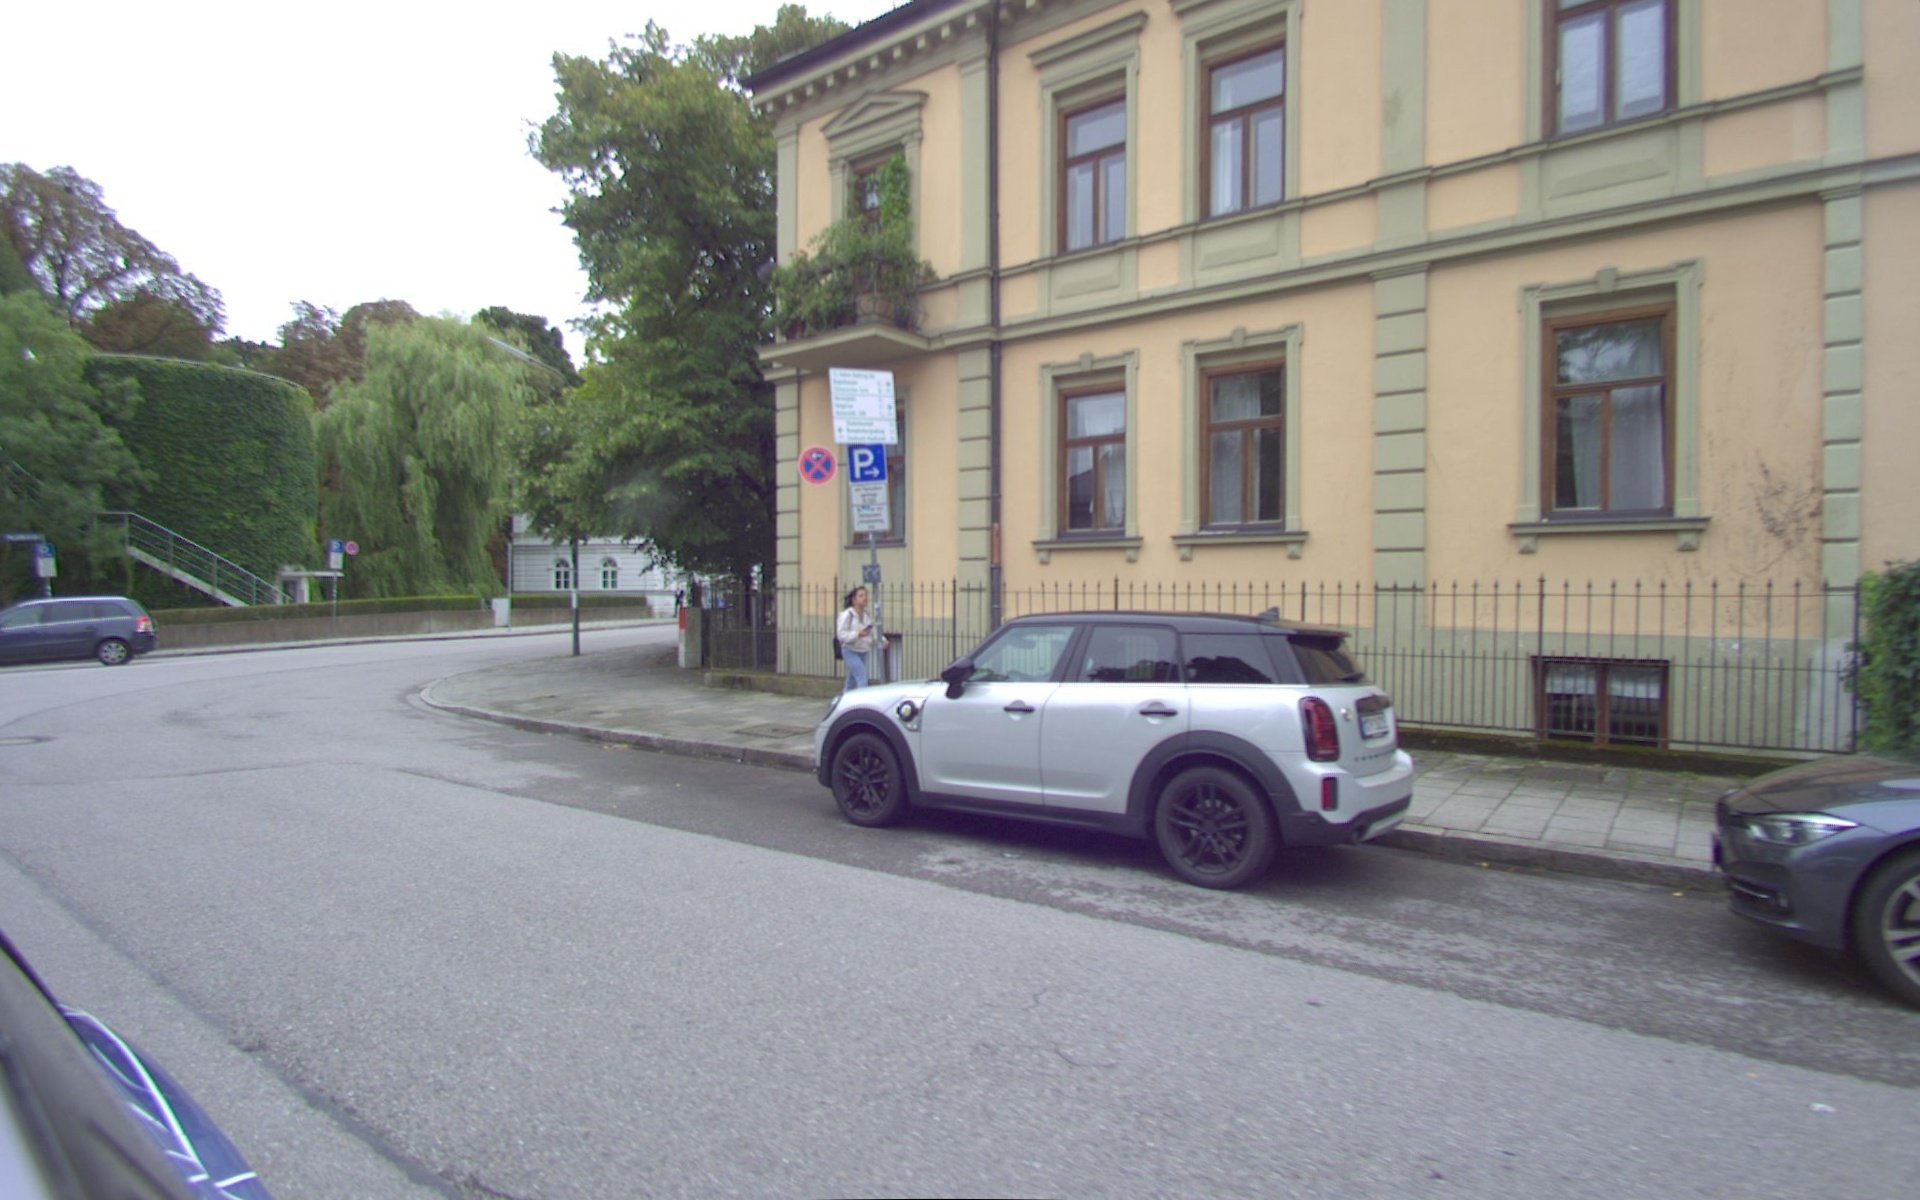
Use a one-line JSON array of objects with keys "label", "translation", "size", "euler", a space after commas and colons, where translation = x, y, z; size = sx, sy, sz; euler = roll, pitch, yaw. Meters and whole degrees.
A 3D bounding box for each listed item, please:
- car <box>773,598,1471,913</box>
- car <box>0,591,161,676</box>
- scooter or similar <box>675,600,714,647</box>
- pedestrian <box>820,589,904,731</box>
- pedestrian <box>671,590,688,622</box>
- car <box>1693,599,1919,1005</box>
[{"label": "car", "translation": [0.931, 0.812, 7.159], "size": [4.525, 1.547, 1.917], "euler": [0, -2, 38]}, {"label": "car", "translation": [-21.650, 0.812, 23.782], "size": [4.263, 1.705, 2.005], "euler": [-5, 2, -33]}, {"label": "scooter or similar", "translation": [-7.263, 0.627, 27.753], "size": [0.388, 1.198, 1.415], "euler": [-5, 0, 10]}, {"label": "pedestrian", "translation": [-1.169, 0.683, 12.078], "size": [0.739, 1.615, 0.646], "euler": [-1, 1, 42]}, {"label": "pedestrian", "translation": [-15.386, 0.339, 55.512], "size": [0.671, 1.718, 0.768], "euler": [2, 1, 1]}, {"label": "car", "translation": [5.552, 0.784, 3.549], "size": [4.813, 1.520, 1.918], "euler": [0, -2, 36]}]
